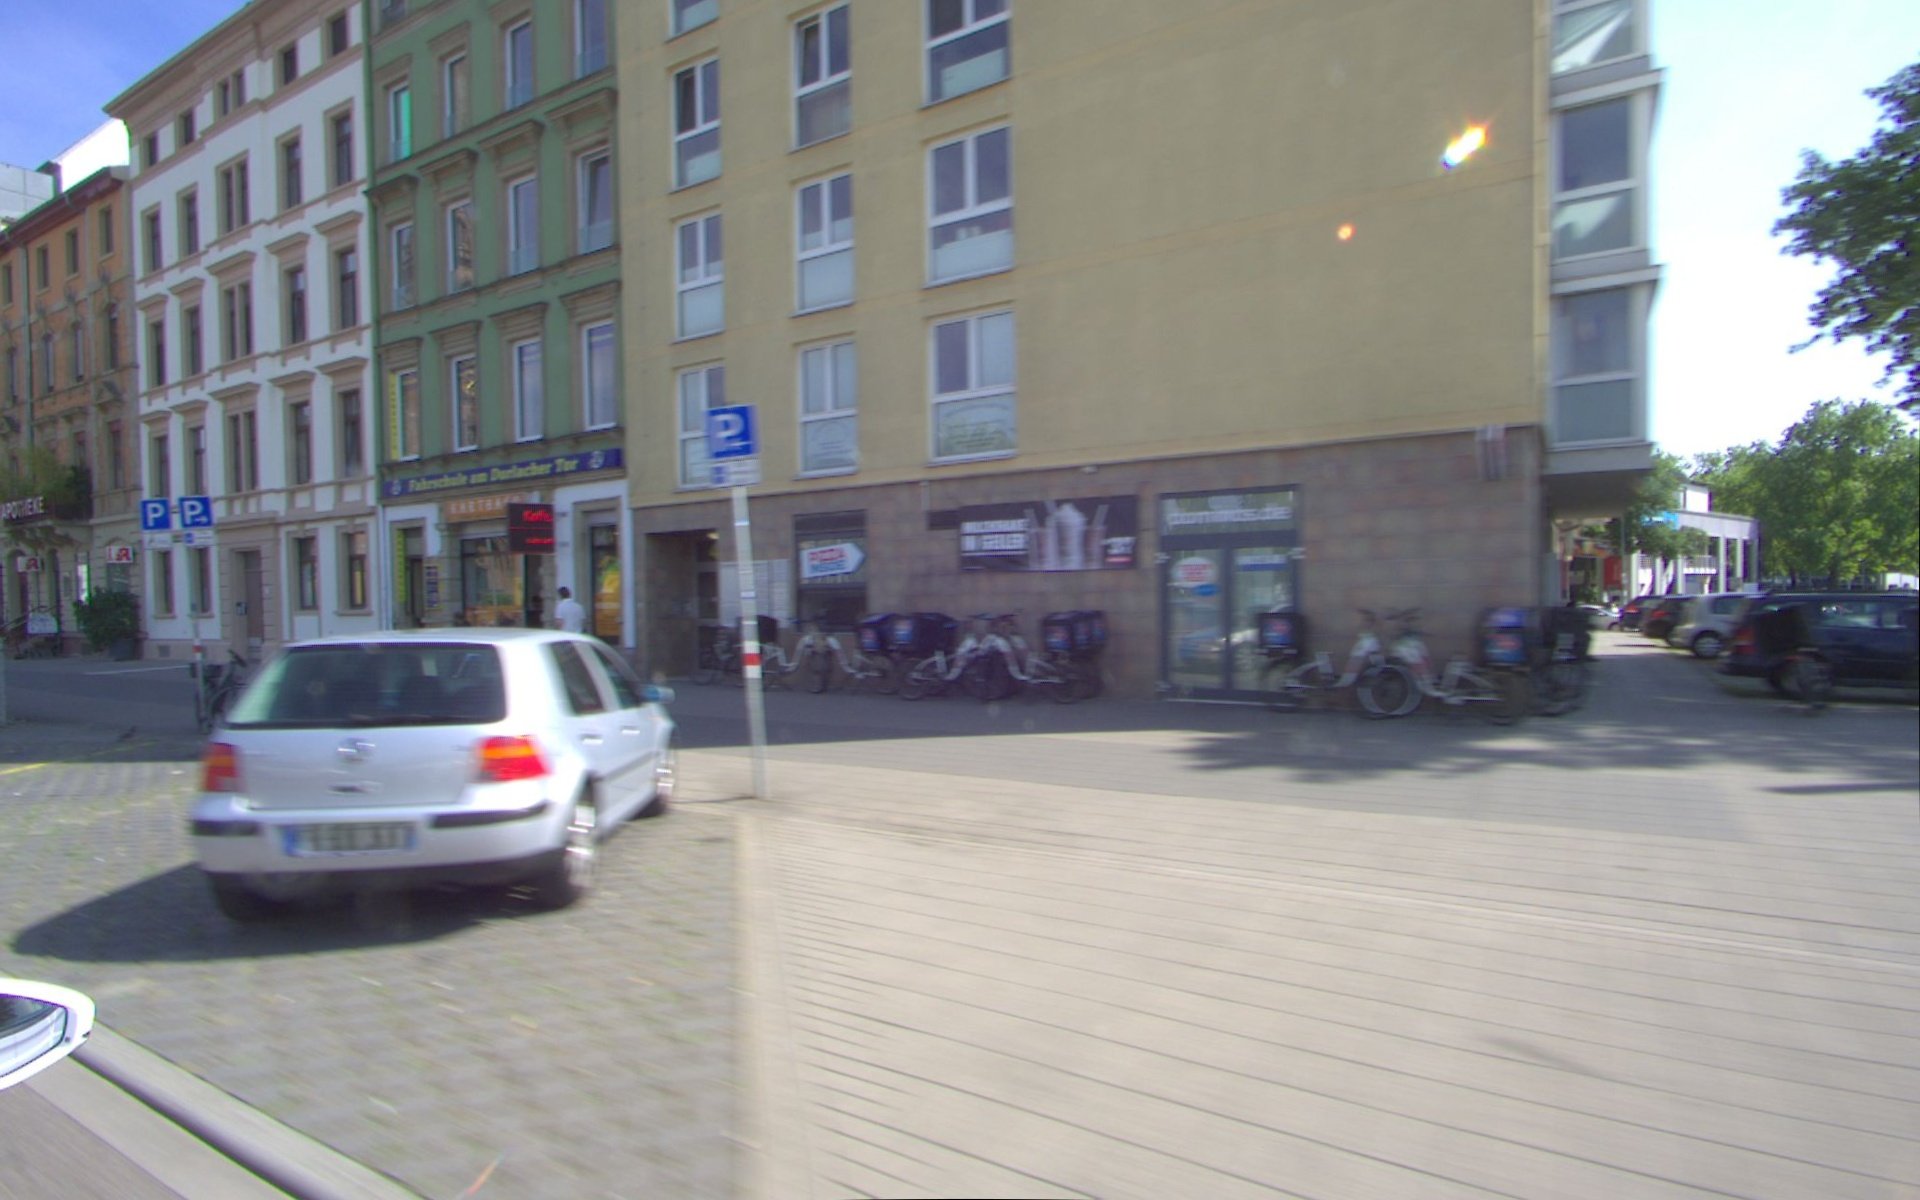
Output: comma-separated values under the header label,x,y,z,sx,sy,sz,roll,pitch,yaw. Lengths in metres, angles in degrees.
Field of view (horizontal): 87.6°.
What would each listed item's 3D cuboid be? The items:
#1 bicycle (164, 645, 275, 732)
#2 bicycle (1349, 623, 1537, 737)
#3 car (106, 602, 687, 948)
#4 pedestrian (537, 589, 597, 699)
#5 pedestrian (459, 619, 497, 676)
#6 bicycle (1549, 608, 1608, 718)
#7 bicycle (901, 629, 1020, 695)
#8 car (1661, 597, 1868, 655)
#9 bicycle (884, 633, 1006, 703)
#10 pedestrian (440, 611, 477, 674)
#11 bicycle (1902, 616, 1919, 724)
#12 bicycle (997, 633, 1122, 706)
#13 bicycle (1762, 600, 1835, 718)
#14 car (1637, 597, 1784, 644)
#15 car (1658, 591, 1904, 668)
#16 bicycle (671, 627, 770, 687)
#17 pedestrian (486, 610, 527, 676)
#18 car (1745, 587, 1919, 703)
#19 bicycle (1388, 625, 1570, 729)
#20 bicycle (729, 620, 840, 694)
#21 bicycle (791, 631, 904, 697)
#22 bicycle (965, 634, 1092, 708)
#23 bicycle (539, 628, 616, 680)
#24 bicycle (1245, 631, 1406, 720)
label,x,y,z,sx,sy,sz,roll,pitch,yaw
bicycle,-10.370,1.214,14.010,1.794,1.110,0.580,-1,3,33
bicycle,5.207,0.826,10.872,1.739,1.101,0.578,-1,4,45
car,-2.953,0.821,6.334,1.779,1.458,4.001,0,-2,-7
pedestrian,-6.498,0.708,16.580,0.693,1.769,0.607,0,1,32
pedestrian,-10.237,1.002,21.268,0.522,1.183,0.524,0,1,32
bicycle,7.502,0.715,12.110,0.534,1.202,1.878,0,1,34
bicycle,-0.006,0.909,15.015,1.732,0.928,0.580,-1,1,33
car,20.565,0.618,25.845,3.942,1.288,1.734,2,2,33
bicycle,-0.229,0.964,14.540,1.731,0.928,0.581,-1,1,32
pedestrian,-11.068,0.928,22.114,0.522,1.372,0.524,0,1,32
bicycle,10.978,0.755,11.229,0.577,1.100,1.741,0,1,42
bicycle,1.383,0.958,14.169,1.736,0.928,0.579,-1,1,40
bicycle,9.741,0.642,11.617,0.577,1.236,1.741,0,1,42
car,24.457,0.618,32.811,3.681,1.358,1.734,2,2,33
car,17.953,0.593,22.178,3.942,1.459,1.880,2,2,33
bicycle,-4.233,0.981,17.673,1.754,0.978,0.580,-1,3,32
pedestrian,-9.757,0.908,21.526,0.637,1.392,0.524,0,1,32
car,13.180,0.617,13.417,4.035,1.489,1.651,0,-2,33
bicycle,5.781,0.821,11.212,1.735,1.057,0.579,-1,1,39
bicycle,-2.858,0.901,16.264,1.793,1.110,0.580,-1,3,32
bicycle,-1.760,0.979,15.635,1.731,0.940,0.580,-1,3,32
bicycle,0.926,0.954,13.844,1.736,0.928,0.579,-1,1,40
bicycle,-7.620,1.062,19.924,1.754,0.978,0.412,-1,3,32
bicycle,4.395,0.879,12.108,1.735,0.978,0.580,-1,1,38
